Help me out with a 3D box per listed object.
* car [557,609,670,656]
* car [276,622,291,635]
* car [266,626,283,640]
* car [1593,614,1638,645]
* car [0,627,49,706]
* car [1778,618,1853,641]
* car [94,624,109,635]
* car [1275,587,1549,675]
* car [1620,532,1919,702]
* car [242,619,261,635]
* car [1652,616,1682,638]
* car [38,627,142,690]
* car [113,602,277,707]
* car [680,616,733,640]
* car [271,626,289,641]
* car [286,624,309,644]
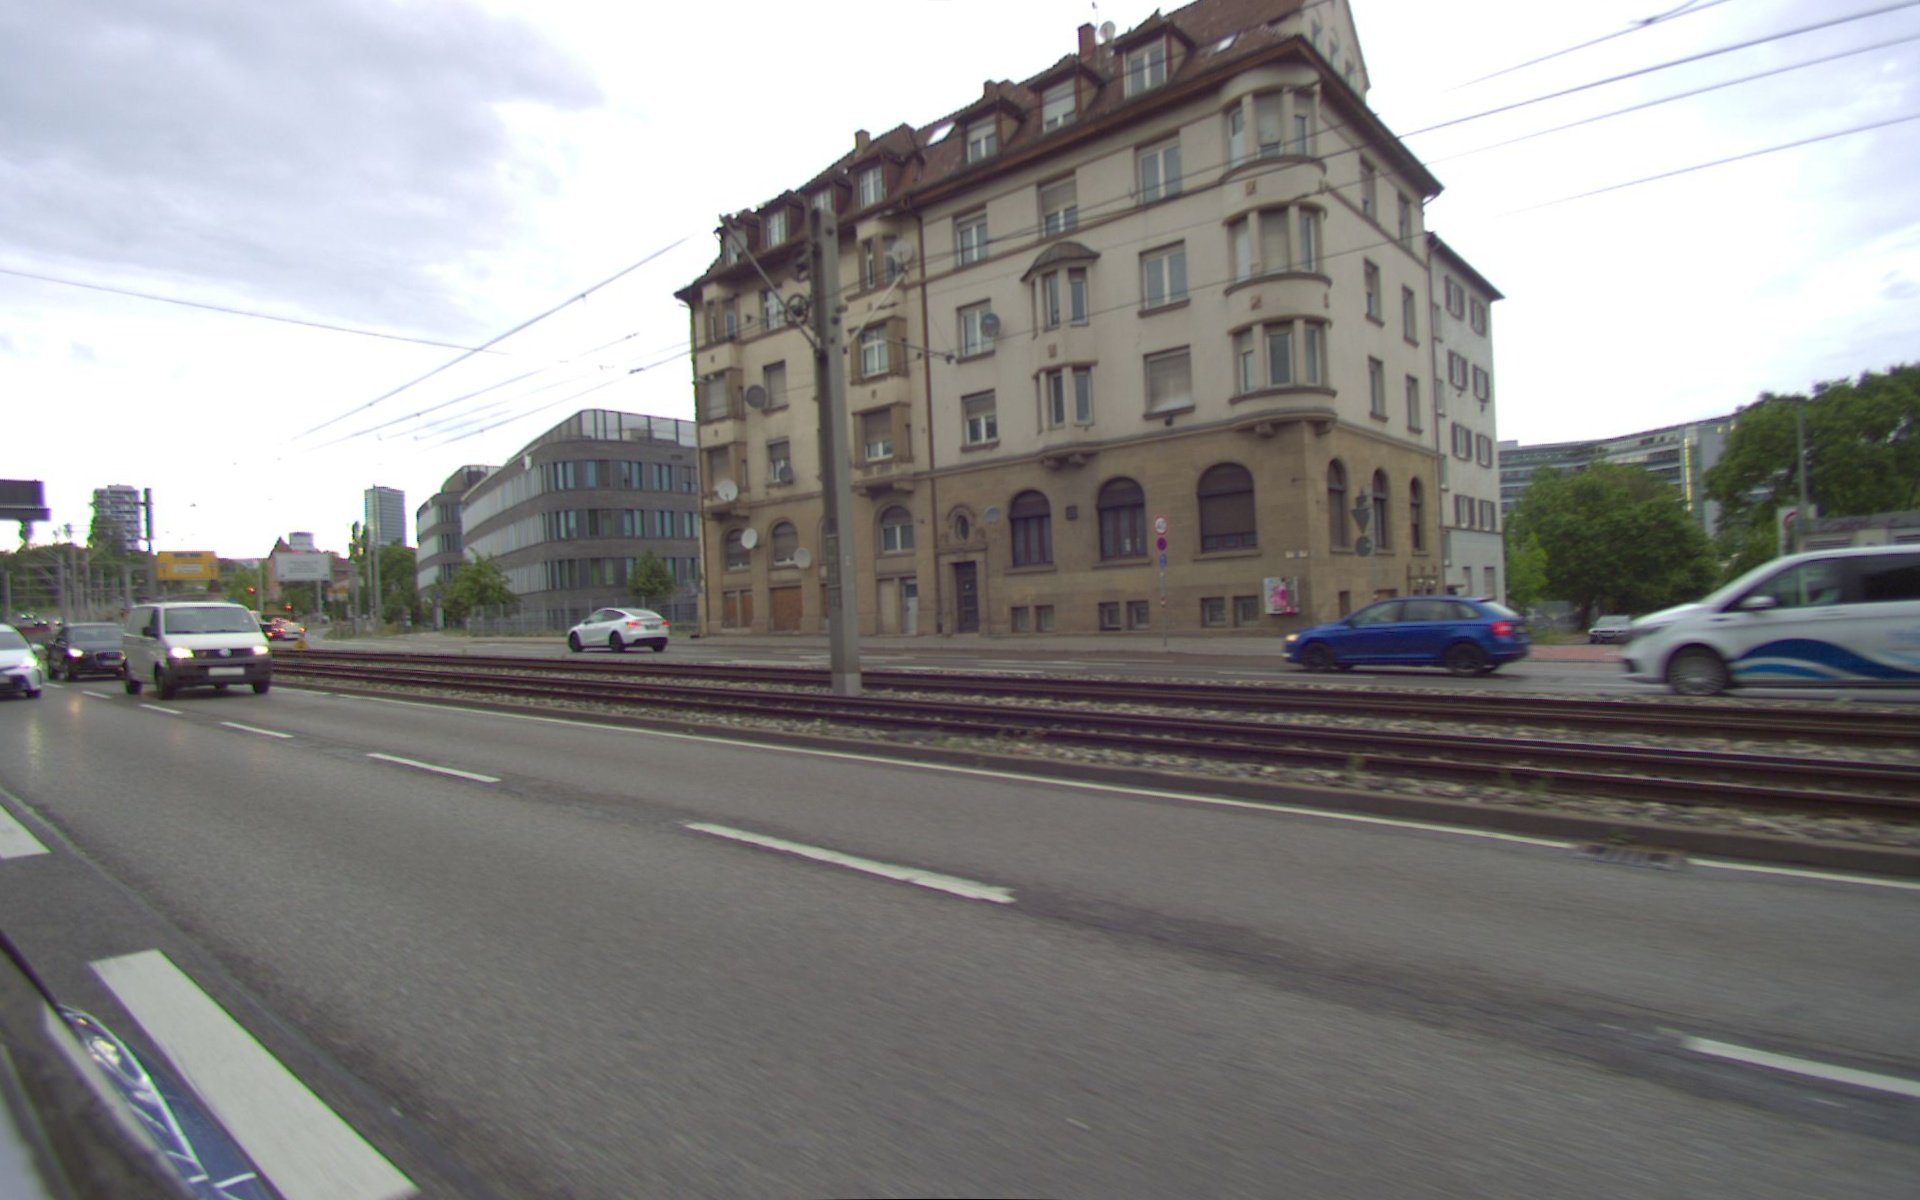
[{"bbox_3d":[-12.703,1.187,36.975,4.739,1.604,1.703,-2,-2,40],"label":"car"},{"bbox_3d":[-99.063,4.200,148.142,1.807,1.811,4.226,0,-2,-35],"label":"car"},{"bbox_3d":[-89.214,4.271,131.632,1.807,1.811,4.226,0,-2,-35],"label":"car"},{"bbox_3d":[33.708,1.489,52.004,1.609,1.444,4.119,-2,0,37],"label":"car"},{"bbox_3d":[-21.245,1.419,21.766,4.316,1.585,1.956,-2,-1,41],"label":"car"},{"bbox_3d":[55.721,1.894,65.943,3.648,1.414,1.693,-1,-1,41],"label":"car"},{"bbox_3d":[-157.044,5.385,185.106,1.969,1.962,4.006,-1,-1,-40],"label":"car"},{"bbox_3d":[8.237,0.558,18.707,4.329,1.444,1.589,-2,0,41],"label":"car"},{"bbox_3d":[11.159,0.176,12.152,5.189,1.888,1.973,-2,0,41],"label":"car"},{"bbox_3d":[-109.585,4.158,156.555,2.301,2.486,7.042,-1,-1,-36],"label":"car"},{"bbox_3d":[52.360,2.003,74.951,1.609,1.444,4.119,-2,0,37],"label":"car"},{"bbox_3d":[-24.484,1.598,28.443,3.894,1.585,1.686,-2,-1,41],"label":"car"},{"bbox_3d":[-16.439,1.099,21.656,4.716,1.973,1.889,-2,-1,42],"label":"car"},{"bbox_3d":[-18.321,1.994,73.076,3.998,1.666,1.723,-1,-1,41],"label":"car"},{"bbox_3d":[-85.306,4.236,126.905,1.807,1.811,4.226,0,-2,-35],"label":"car"},{"bbox_3d":[-62.223,3.223,95.044,1.807,1.811,4.226,0,-2,-33],"label":"car"}]
